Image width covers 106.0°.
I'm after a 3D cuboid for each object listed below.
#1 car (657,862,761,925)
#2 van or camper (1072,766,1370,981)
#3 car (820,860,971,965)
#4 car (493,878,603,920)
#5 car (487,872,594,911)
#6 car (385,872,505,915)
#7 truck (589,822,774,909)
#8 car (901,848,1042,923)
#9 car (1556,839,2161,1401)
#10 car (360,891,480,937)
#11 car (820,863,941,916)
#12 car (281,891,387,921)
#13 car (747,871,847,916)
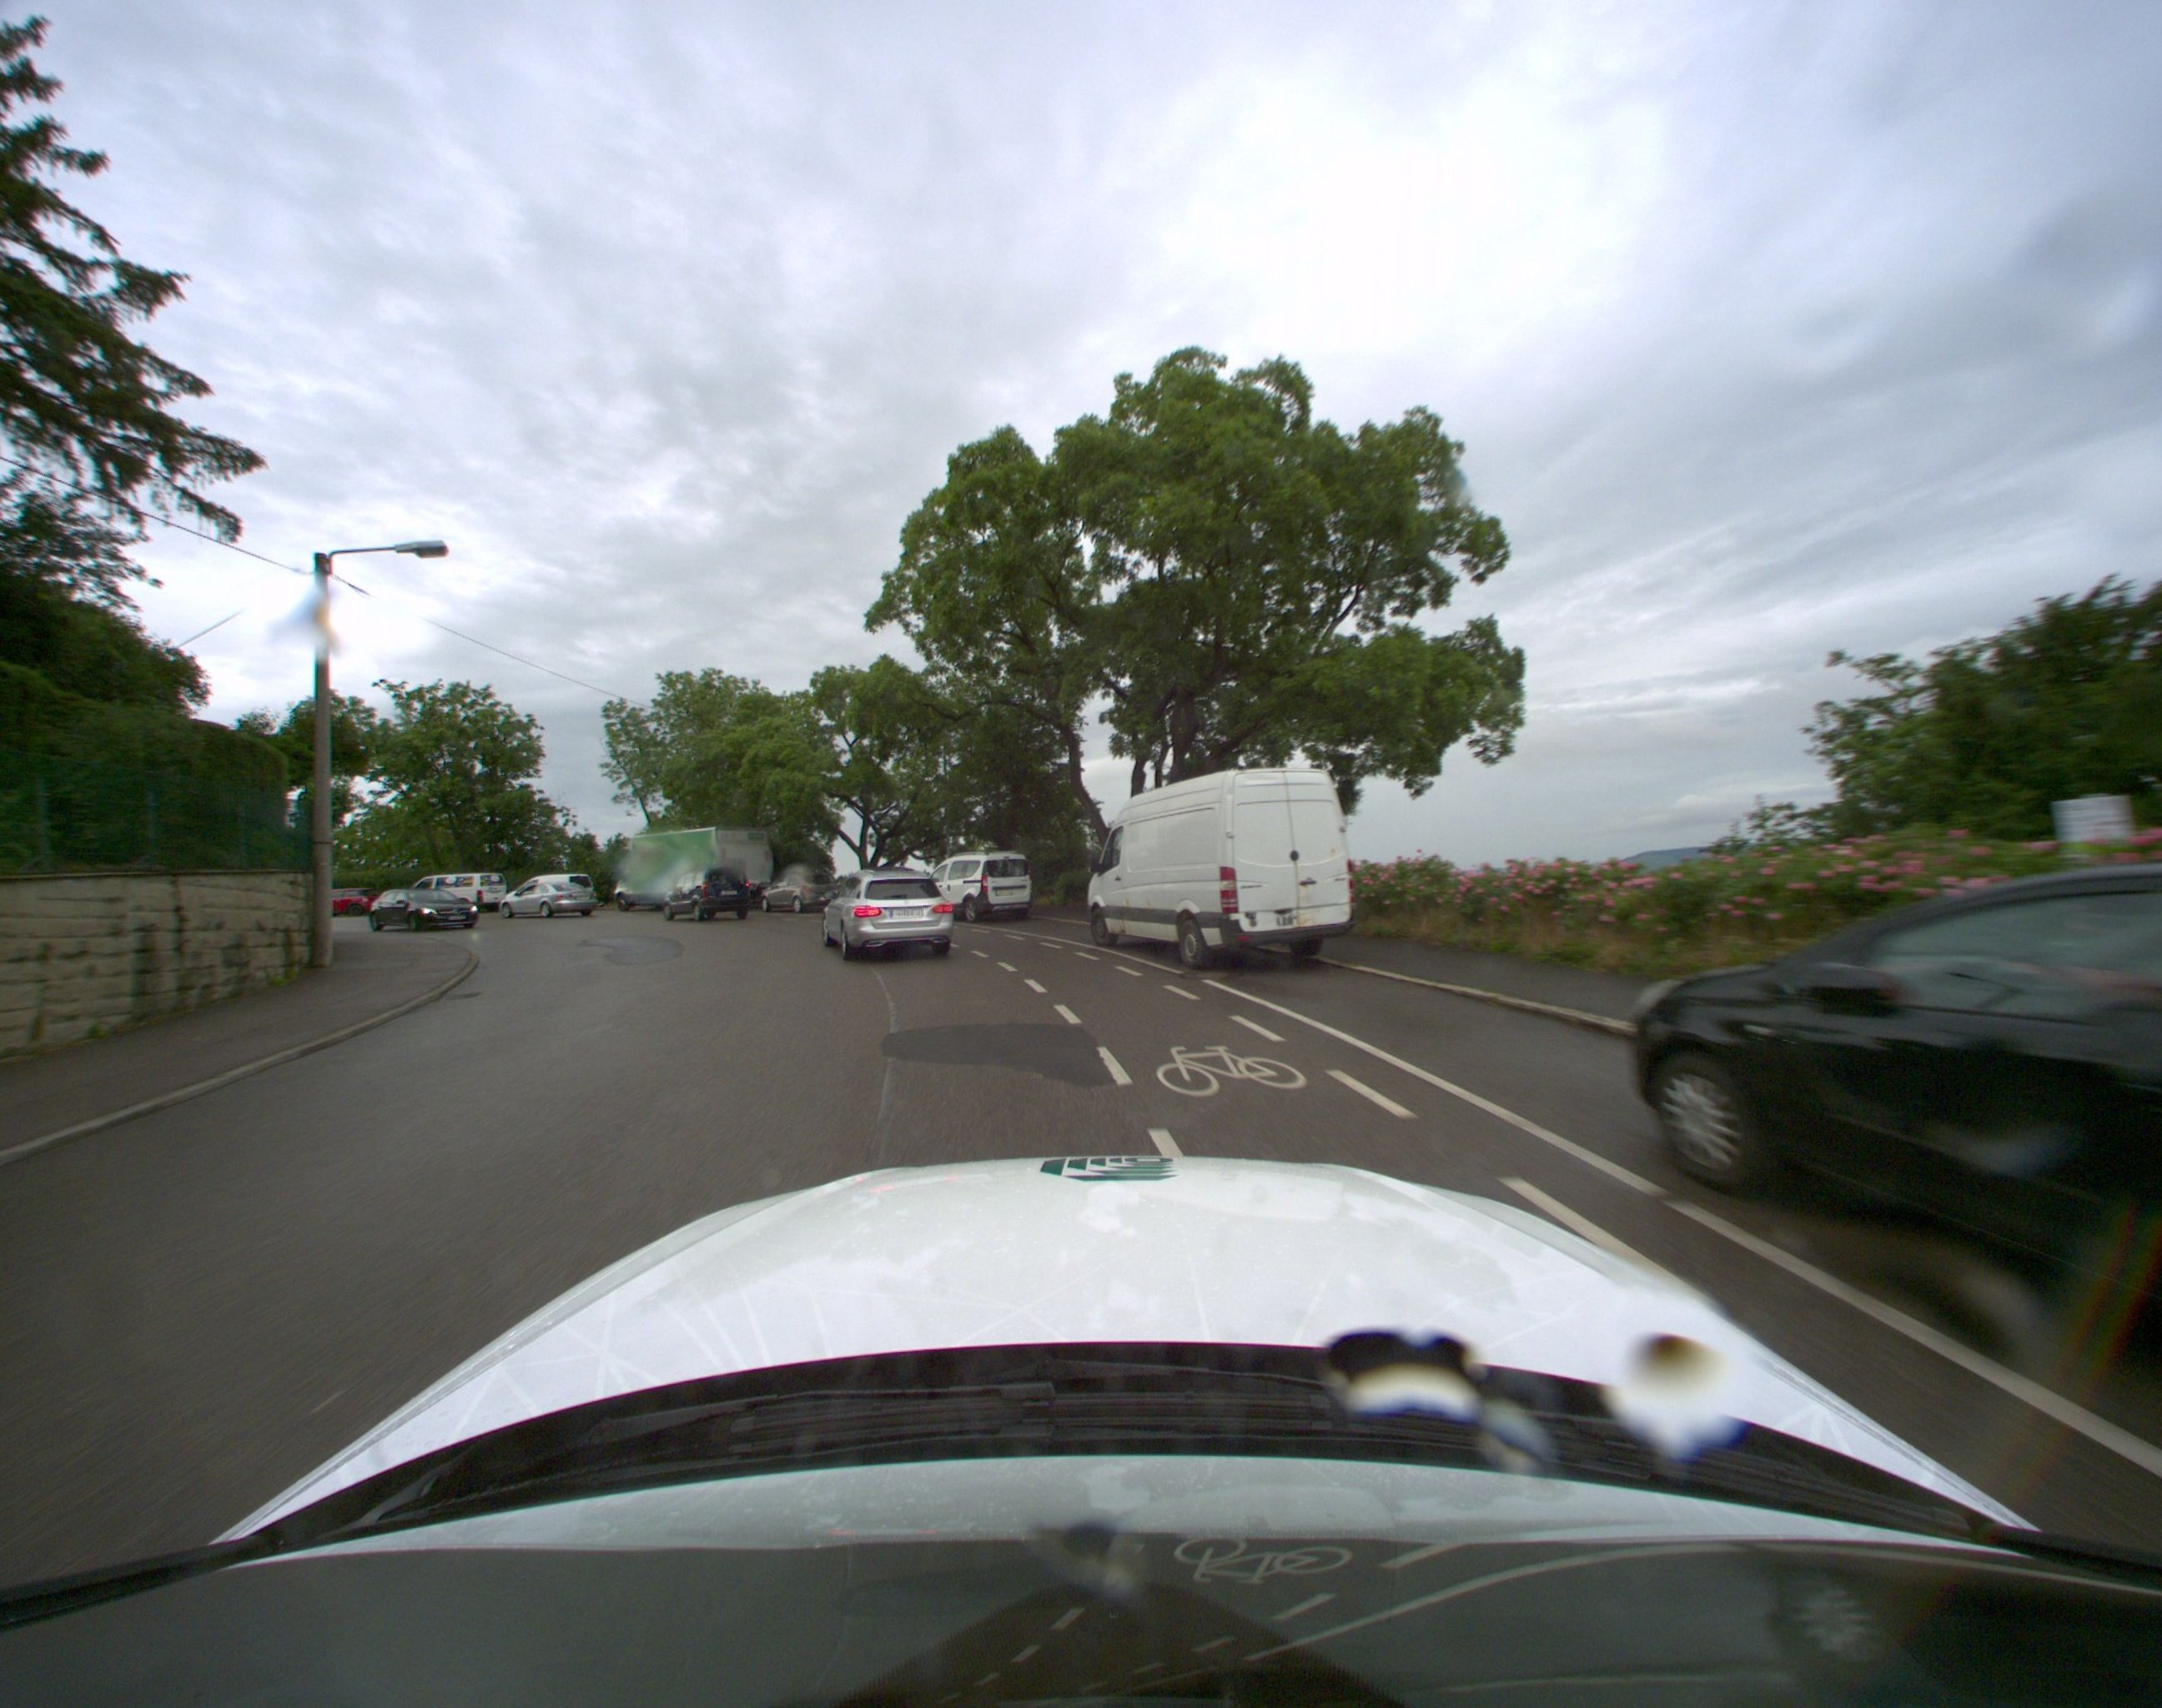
[{"bbox_3d":[-12.653,1.299,27.585,4.044,1.882,1.841,-3,0,45],"label":"car"},{"bbox_3d":[1.797,0.225,13.023,2.073,2.580,5.850,-3,0,-19],"label":"van or camper"},{"bbox_3d":[-3.552,0.971,14.946,1.991,1.554,4.265,-2,-1,-23],"label":"car"},{"bbox_3d":[-21.760,1.845,33.241,4.044,1.458,1.871,-3,0,26],"label":"car"},{"bbox_3d":[-26.387,1.824,39.829,4.333,1.771,1.873,-2,-2,13],"label":"car"},{"bbox_3d":[-31.982,1.968,41.018,4.768,1.948,1.869,-2,-2,5],"label":"car"},{"bbox_3d":[-17.700,0.586,35.845,8.818,3.470,2.800,-2,0,30],"label":"truck"},{"bbox_3d":[-3.183,0.866,22.918,1.762,1.821,4.371,-3,0,-41],"label":"car"},{"bbox_3d":[3.590,0.676,2.599,1.692,1.444,3.942,0,0,-4],"label":"car"},{"bbox_3d":[-22.938,2.076,28.231,4.062,1.434,1.804,-3,-1,28],"label":"car"},{"bbox_3d":[-6.789,1.163,27.213,1.876,1.542,4.836,-3,0,-41],"label":"car"},{"bbox_3d":[-38.086,2.633,41.604,3.721,1.414,1.674,-1,-3,-3],"label":"car"},{"bbox_3d":[-10.870,1.490,31.071,4.082,1.503,1.750,-3,0,41],"label":"car"}]
